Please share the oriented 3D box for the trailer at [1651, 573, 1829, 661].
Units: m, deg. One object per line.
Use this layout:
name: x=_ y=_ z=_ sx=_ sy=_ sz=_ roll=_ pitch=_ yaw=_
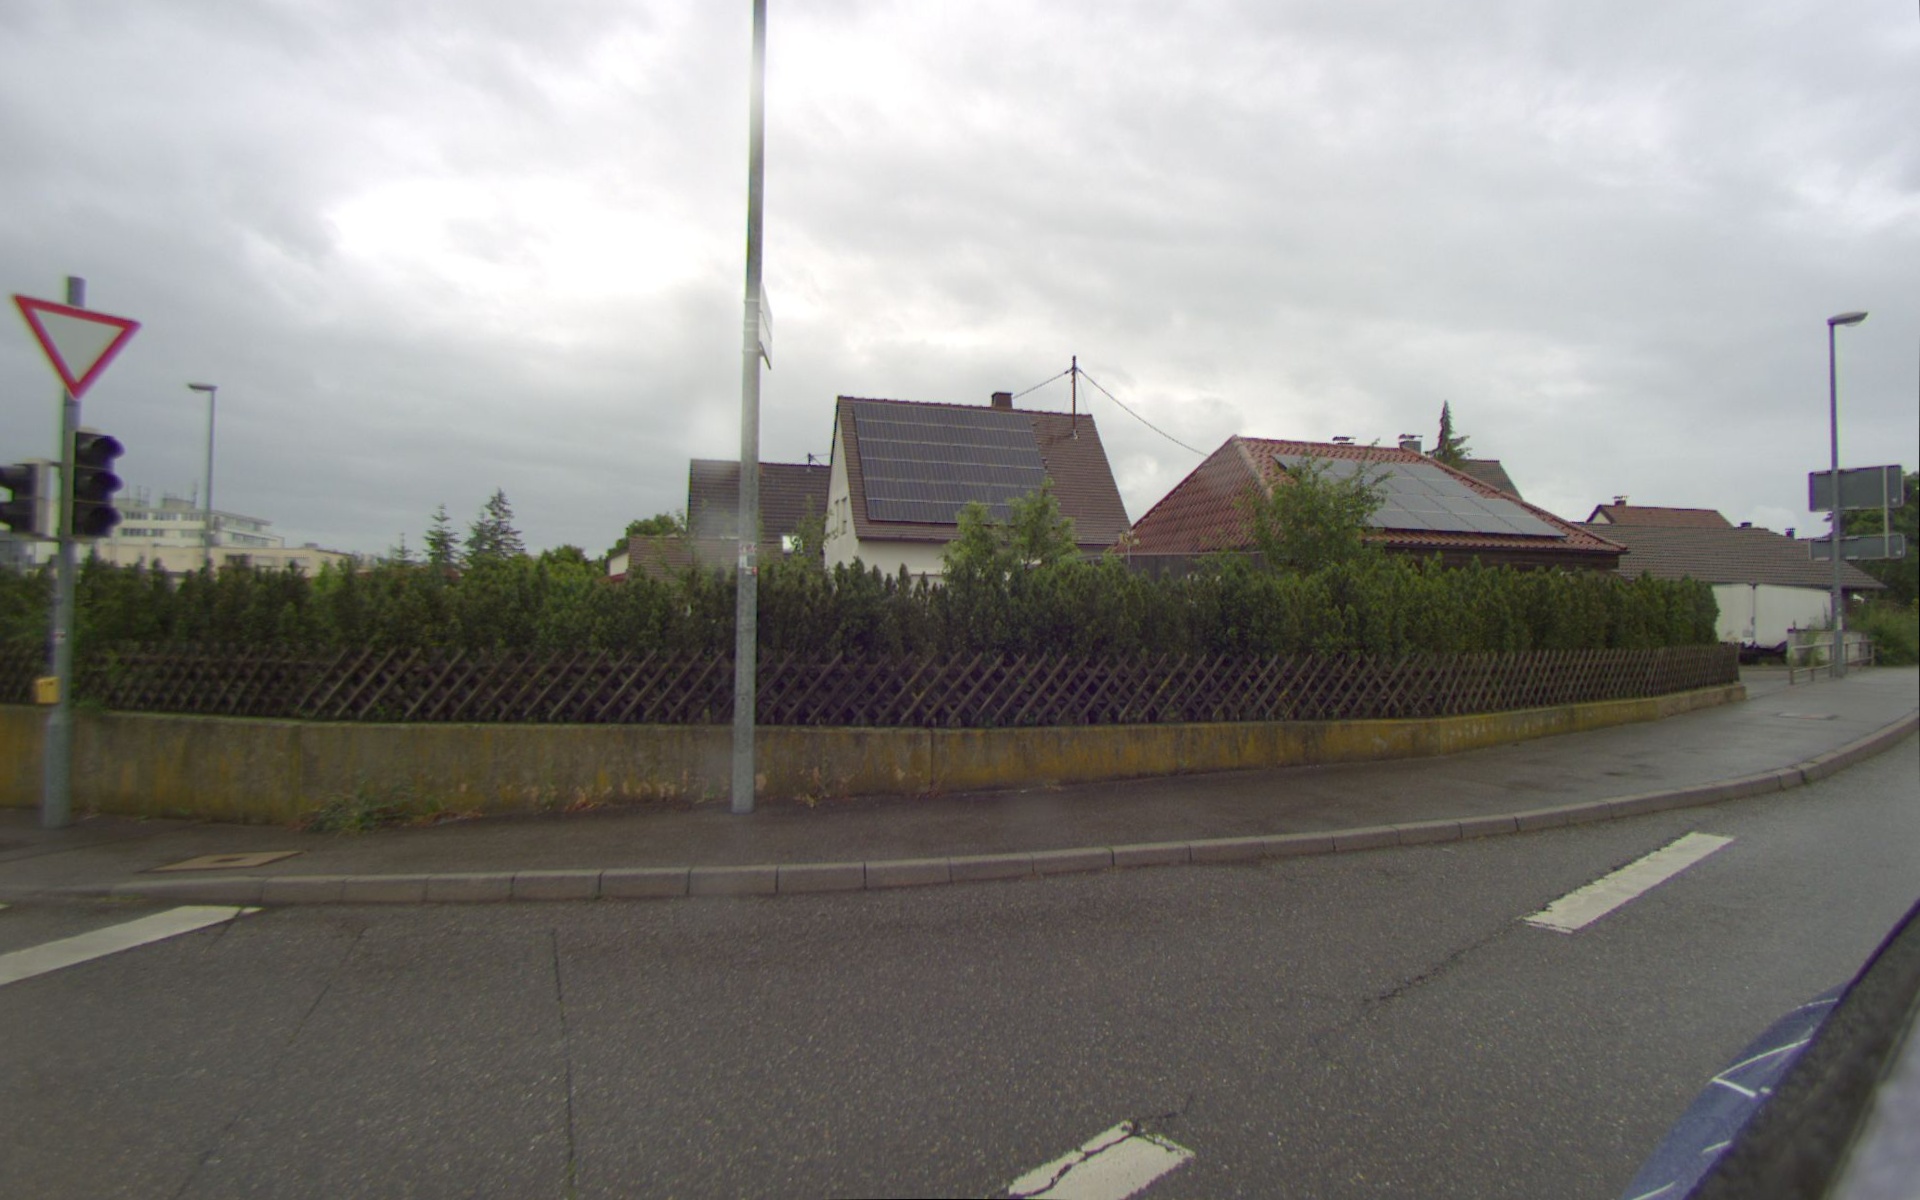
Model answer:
trailer: x=23.682 y=0.518 z=30.760 sx=4.605 sy=2.550 sz=1.652 roll=0 pitch=-2 yaw=-13
